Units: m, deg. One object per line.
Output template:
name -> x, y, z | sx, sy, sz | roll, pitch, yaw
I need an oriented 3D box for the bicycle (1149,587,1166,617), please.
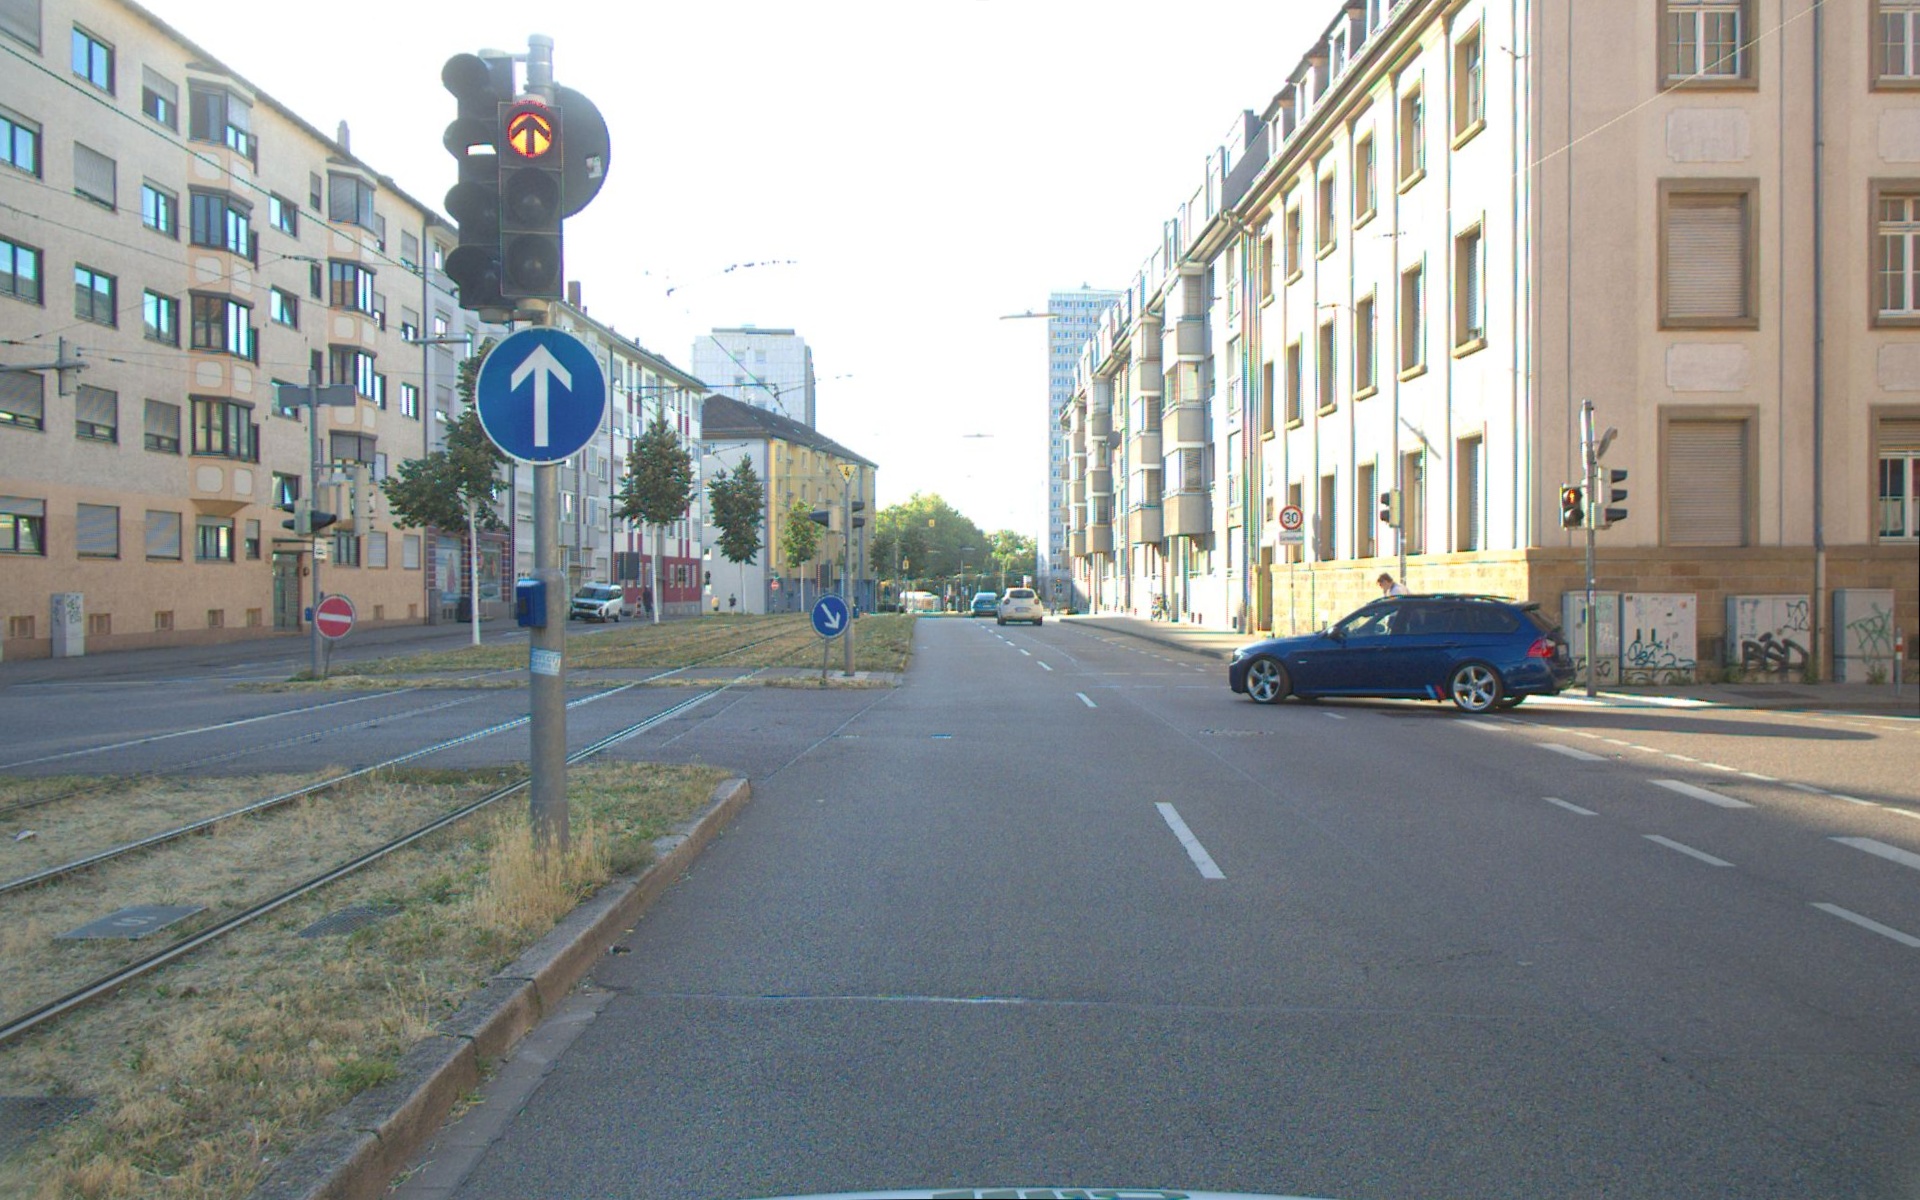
bicycle -> 7.392, 0.087, 62.037 | 0.376, 1.115, 1.503 | -1, 0, -3

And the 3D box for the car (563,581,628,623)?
car -> -17.885, 0.093, 81.364 | 1.952, 1.958, 4.543 | 1, 0, 3

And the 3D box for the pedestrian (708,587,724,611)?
pedestrian -> -17.840, -0.086, 120.862 | 0.942, 1.723, 1.011 | 1, 0, 4

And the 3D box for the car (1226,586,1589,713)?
car -> 5.832, 0.587, 21.631 | 4.234, 1.481, 1.928 | 1, 0, 31

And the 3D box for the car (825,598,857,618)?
car -> -10.421, 0.682, 144.859 | 1.857, 1.662, 4.751 | -1, 0, 7

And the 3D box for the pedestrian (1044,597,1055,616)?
pedestrian -> 5.963, 0.446, 109.774 | 0.677, 1.256, 0.736 | 1, 0, 0

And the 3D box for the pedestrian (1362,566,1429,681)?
pedestrian -> 6.901, 0.369, 26.233 | 0.818, 1.793, 0.824 | 1, -1, -1

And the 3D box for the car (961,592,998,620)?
car -> 1.104, 0.340, 95.214 | 1.953, 1.581, 4.392 | 1, 0, -2

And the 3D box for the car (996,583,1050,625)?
car -> 2.483, 0.174, 66.464 | 1.953, 1.591, 3.999 | 1, 0, -1

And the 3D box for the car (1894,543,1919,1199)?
car -> 2.874, 0.712, 1.436 | 1.663, 1.579, 4.225 | 2, 0, -1

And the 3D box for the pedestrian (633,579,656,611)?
pedestrian -> -18.348, -0.291, 96.221 | 1.246, 1.791, 1.271 | 1, 0, -10

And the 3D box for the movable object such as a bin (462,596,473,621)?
movable object such as a bin -> -20.247, 0.346, 68.043 | 0.292, 1.054, 0.441 | 1, -1, 0
